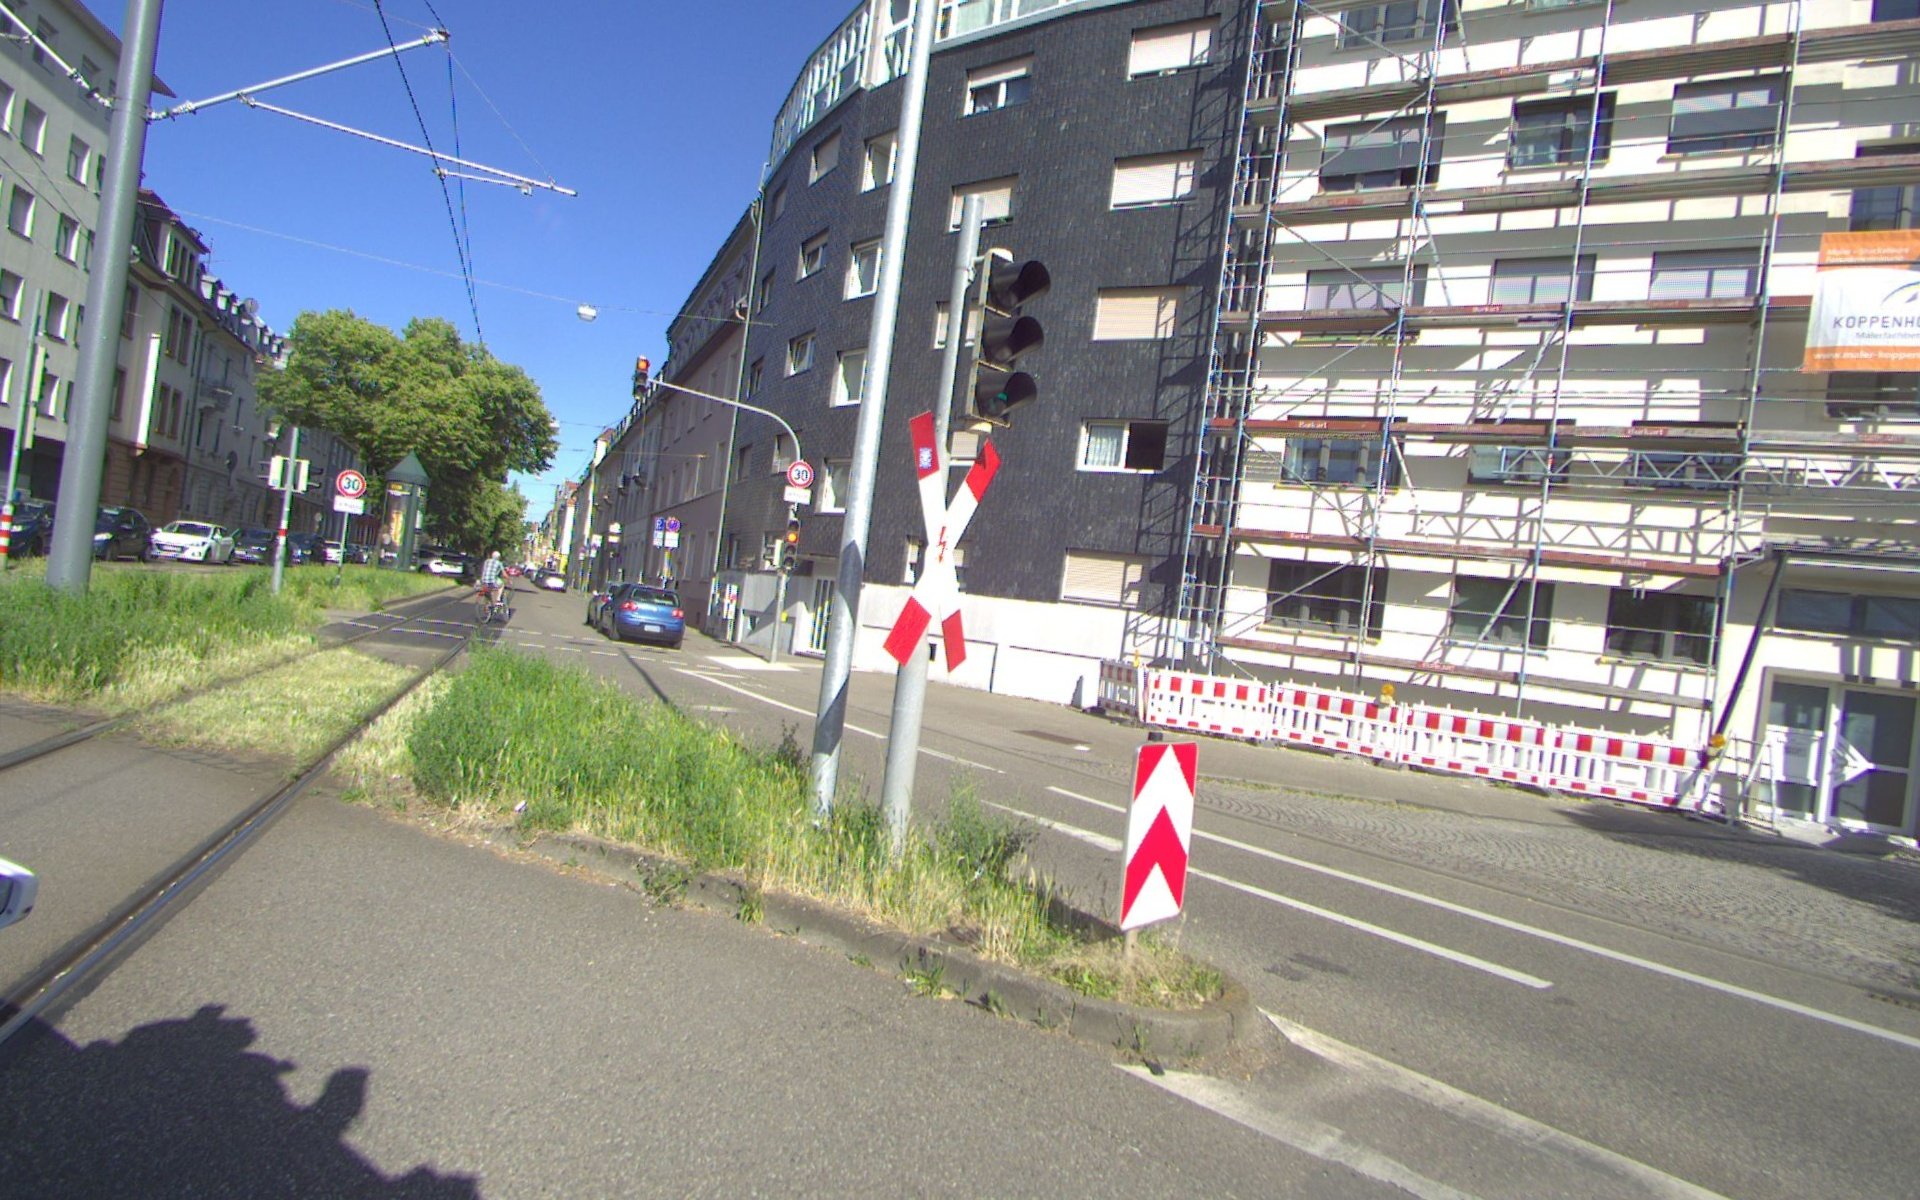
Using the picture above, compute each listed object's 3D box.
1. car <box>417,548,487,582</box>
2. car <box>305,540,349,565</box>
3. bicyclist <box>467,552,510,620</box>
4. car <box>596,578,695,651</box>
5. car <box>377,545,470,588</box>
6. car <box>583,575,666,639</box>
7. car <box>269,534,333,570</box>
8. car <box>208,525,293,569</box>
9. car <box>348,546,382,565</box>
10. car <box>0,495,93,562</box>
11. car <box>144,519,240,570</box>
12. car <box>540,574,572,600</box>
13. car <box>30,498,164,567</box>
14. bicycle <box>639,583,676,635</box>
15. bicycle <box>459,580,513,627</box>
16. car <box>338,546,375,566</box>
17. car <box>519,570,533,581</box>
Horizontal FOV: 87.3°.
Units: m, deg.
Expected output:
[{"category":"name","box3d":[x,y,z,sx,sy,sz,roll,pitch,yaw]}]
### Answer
[{"category":"car","box3d":[-35.194,-2.402,69.771,3.758,1.806,1.837,8,-1,-12]},{"category":"car","box3d":[-45.214,-3.360,71.930,1.976,1.411,3.977,8,-2,-25]},{"category":"bicyclist","box3d":[-11.529,-0.326,24.622,0.552,1.577,0.823,7,0,-9]},{"category":"car","box3d":[-8.154,0.333,25.884,1.760,1.459,3.596,9,-1,-26]},{"category":"car","box3d":[-27.609,-1.706,51.764,3.925,1.612,1.912,7,-1,18]},{"category":"car","box3d":[-10.192,0.167,30.351,1.803,1.526,3.976,8,-1,-25]},{"category":"car","box3d":[-34.976,-2.513,53.501,1.974,1.505,3.980,8,-2,-22]},{"category":"car","box3d":[-30.420,-2.238,43.281,1.974,1.490,3.980,8,-2,-22]},{"category":"car","box3d":[-54.230,-4.038,91.776,1.974,1.363,3.980,8,-2,-23]},{"category":"car","box3d":[-22.695,-1.749,24.070,1.773,1.412,3.705,8,-2,-23]},{"category":"car","box3d":[-27.562,-1.943,36.224,1.773,1.500,3.513,8,-1,-23]},{"category":"car","box3d":[-31.054,-0.952,77.316,1.975,1.635,3.981,9,-3,-23]},{"category":"car","box3d":[-25.070,-1.904,29.394,1.773,1.584,3.746,8,-1,-23]},{"category":"bicycle","box3d":[-9.776,0.258,32.456,0.568,1.529,2.791,8,-1,-25]},{"category":"bicycle","box3d":[-11.584,0.096,24.639,0.579,1.044,1.855,7,-1,-9]},{"category":"car","box3d":[-51.561,-3.772,85.975,1.974,1.363,3.980,8,-2,-23]},{"category":"car","box3d":[-64.929,-3.624,150.374,1.660,1.382,3.679,8,-2,-22]}]
